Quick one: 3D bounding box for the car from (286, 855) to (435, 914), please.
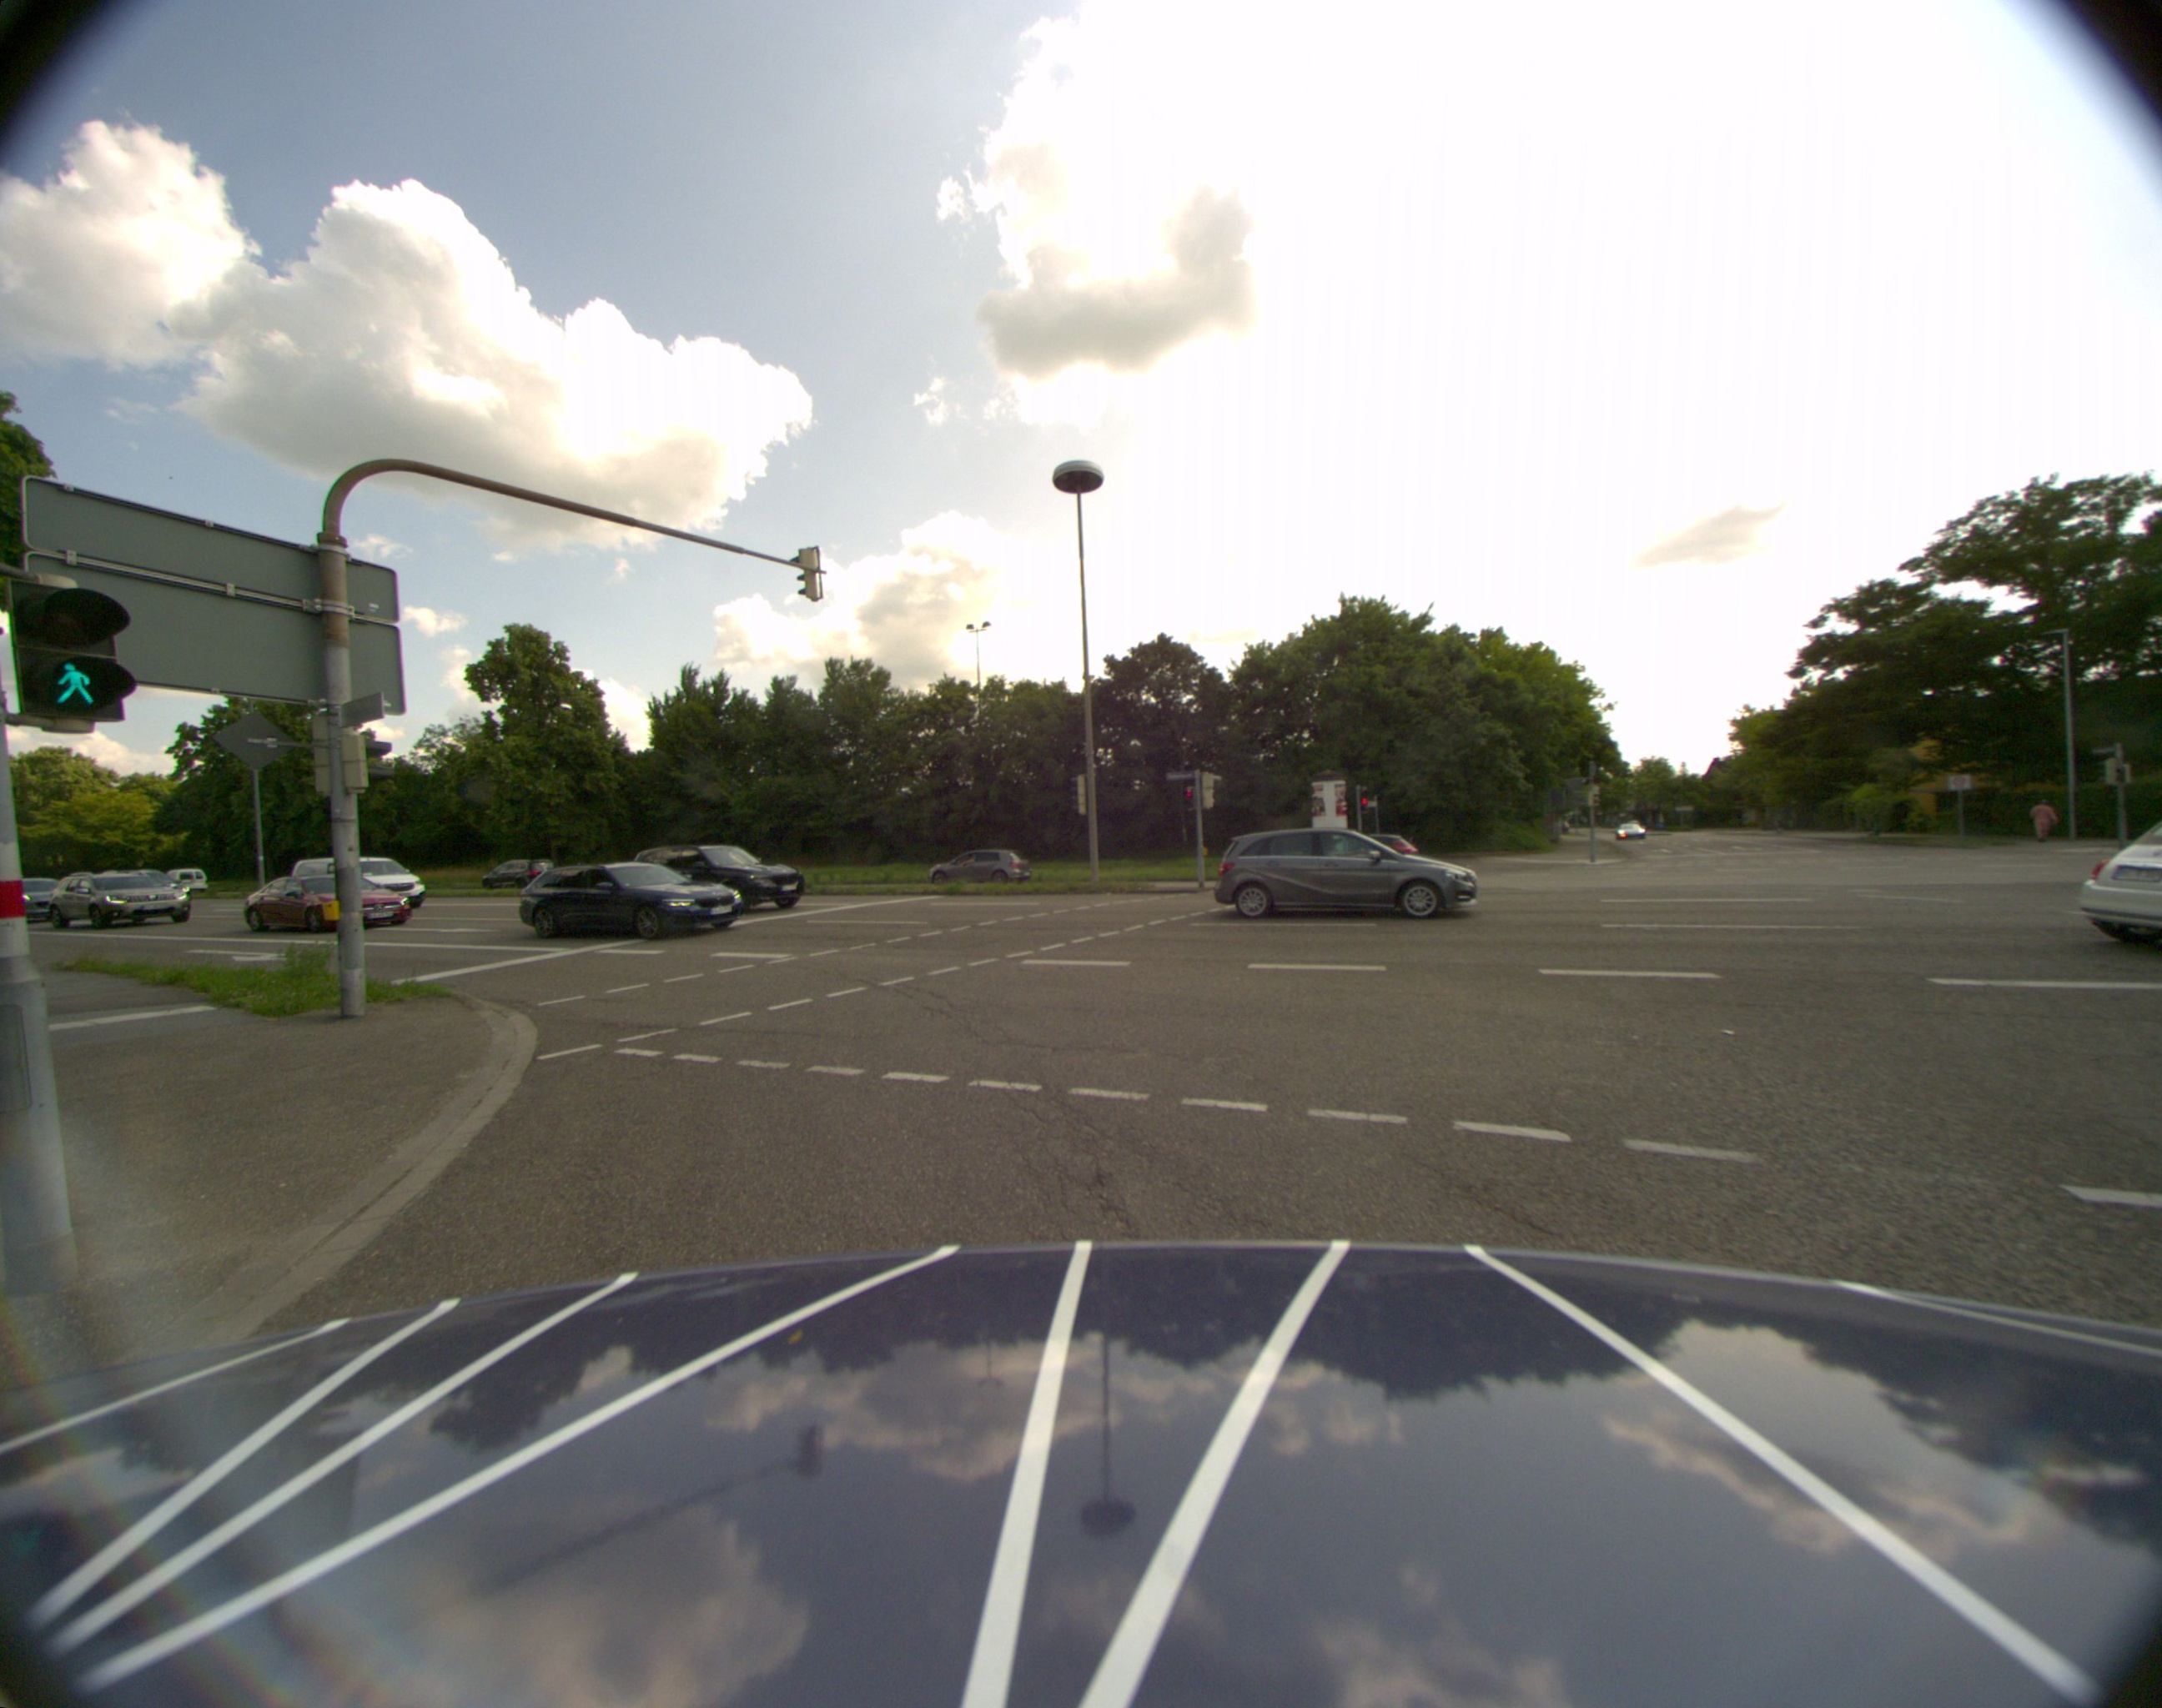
[{"bbox_3d":[-24.422,0.993,25.766,4.719,1.788,1.773,-1,3,22],"label":"car"}]

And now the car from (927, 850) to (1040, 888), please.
[{"bbox_3d":[-3.840,0.599,30.000,4.072,1.365,1.601,-2,1,20],"label":"car"}]

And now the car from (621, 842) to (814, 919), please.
[{"bbox_3d":[-9.365,0.651,19.571,4.539,1.736,1.821,-1,3,22],"label":"car"}]

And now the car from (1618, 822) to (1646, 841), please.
[{"bbox_3d":[46.550,-1.895,64.200,1.726,1.421,4.006,0,4,33],"label":"car"}]

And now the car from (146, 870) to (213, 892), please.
[{"bbox_3d":[-58.251,1.725,49.117,3.685,1.300,1.761,-1,0,23],"label":"car"}]

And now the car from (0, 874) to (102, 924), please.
[{"bbox_3d":[-36.986,1.568,26.928,3.884,1.522,1.730,-1,4,22],"label":"car"}]

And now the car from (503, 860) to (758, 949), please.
[{"bbox_3d":[-9.184,0.957,15.479,4.861,1.489,1.804,-1,4,22],"label":"car"}]

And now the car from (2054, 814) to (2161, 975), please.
[{"bbox_3d":[11.867,0.322,6.832,3.532,1.488,1.577,-2,2,21],"label":"car"}]

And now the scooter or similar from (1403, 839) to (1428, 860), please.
[{"bbox_3d":[15.823,-0.203,35.934,1.033,0.937,0.297,0,4,29],"label":"scooter or similar"}]

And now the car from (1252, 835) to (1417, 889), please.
[{"bbox_3d":[7.468,0.234,22.584,4.446,1.457,1.779,-2,1,20],"label":"car"}]

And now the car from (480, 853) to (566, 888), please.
[{"bbox_3d":[-30.304,0.906,41.241,4.300,1.732,1.678,-1,3,22],"label":"car"}]

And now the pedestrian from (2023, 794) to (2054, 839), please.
[{"bbox_3d":[38.269,-1.494,30.368,0.690,1.732,0.706,-1,2,44],"label":"pedestrian"}]

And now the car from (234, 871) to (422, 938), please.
[{"bbox_3d":[-19.524,1.257,19.700,4.524,1.455,1.730,-1,4,22],"label":"car"}]

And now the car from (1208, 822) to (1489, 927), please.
[{"bbox_3d":[4.610,0.347,13.365,4.350,1.610,1.706,-2,3,22],"label":"car"}]

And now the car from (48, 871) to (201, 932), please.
[{"bbox_3d":[-29.518,1.418,23.449,4.166,1.603,1.730,-1,3,22],"label":"car"}]

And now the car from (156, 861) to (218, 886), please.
[{"bbox_3d":[-66.302,1.446,56.352,4.244,1.784,1.678,-1,3,22],"label":"car"}]

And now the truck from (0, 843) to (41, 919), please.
[{"bbox_3d":[-44.861,1.163,30.182,6.950,2.845,2.368,-1,4,22],"label":"truck"}]
